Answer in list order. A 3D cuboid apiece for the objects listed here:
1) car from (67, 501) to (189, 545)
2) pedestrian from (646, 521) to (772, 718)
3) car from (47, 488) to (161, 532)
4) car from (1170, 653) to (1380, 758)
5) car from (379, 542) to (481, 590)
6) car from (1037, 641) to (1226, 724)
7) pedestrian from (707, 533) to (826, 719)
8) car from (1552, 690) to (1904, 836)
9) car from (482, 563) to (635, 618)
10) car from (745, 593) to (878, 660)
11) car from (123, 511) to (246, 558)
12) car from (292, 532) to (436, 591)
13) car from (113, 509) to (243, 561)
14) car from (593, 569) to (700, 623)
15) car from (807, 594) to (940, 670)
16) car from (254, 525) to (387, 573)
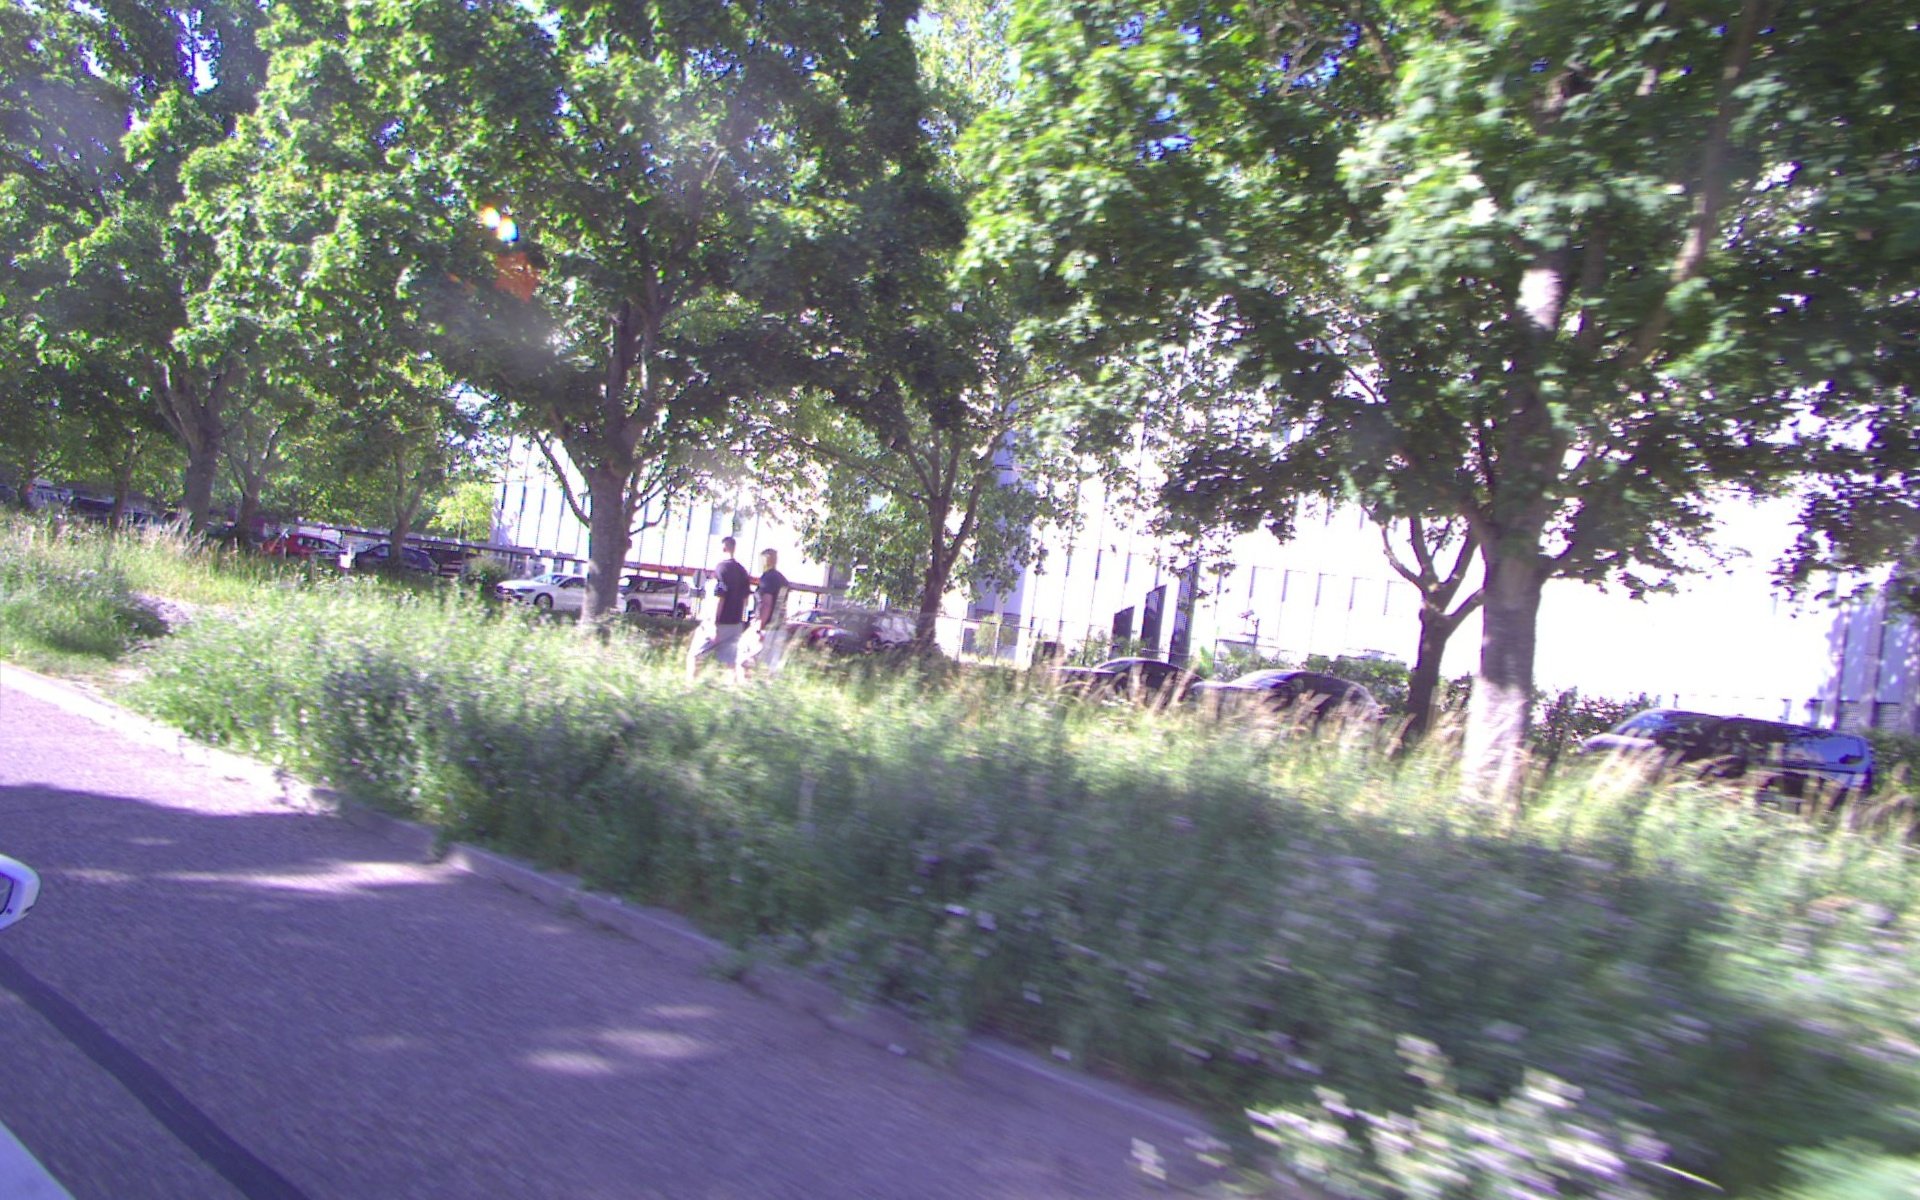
[{"bbox_3d":[-42.157,-3.882,51.073,1.661,1.476,4.362,7,-2,33],"label":"car"},{"bbox_3d":[-2.643,0.212,10.610,0.803,1.940,0.709,7,-1,32],"label":"pedestrian"},{"bbox_3d":[-44.303,-4.647,52.149,1.709,1.523,4.038,7,-1,31],"label":"car"},{"bbox_3d":[6.748,2.248,21.575,3.933,1.657,1.716,9,-2,-20],"label":"car"},{"bbox_3d":[-29.921,-1.881,56.929,1.925,2.037,4.594,7,-1,31],"label":"car"},{"bbox_3d":[4.003,1.911,23.437,3.935,1.357,1.700,9,-2,-22],"label":"car"},{"bbox_3d":[-2.163,0.297,11.266,0.803,1.953,0.709,7,-1,34],"label":"pedestrian"},{"bbox_3d":[13.809,2.916,18.167,5.369,1.772,1.915,8,-1,-12],"label":"car"},{"bbox_3d":[-13.507,-0.265,34.166,1.776,1.286,4.708,8,0,28],"label":"car"},{"bbox_3d":[-4.110,0.821,28.531,1.733,1.554,4.244,7,-1,21],"label":"car"},{"bbox_3d":[-36.641,-3.068,47.628,1.795,1.448,4.172,7,-2,33],"label":"car"},{"bbox_3d":[-23.183,-1.461,39.308,1.851,1.615,4.404,7,-1,27],"label":"car"},{"bbox_3d":[-33.682,-2.779,43.435,1.676,1.543,4.005,7,-1,27],"label":"car"},{"bbox_3d":[-15.152,-0.148,48.892,1.940,1.973,4.759,8,-1,29],"label":"car"},{"bbox_3d":[-2.249,0.921,27.375,1.733,1.721,4.349,7,-1,21],"label":"car"},{"bbox_3d":[-27.079,-2.133,42.709,1.909,1.340,4.296,8,0,35],"label":"car"}]
